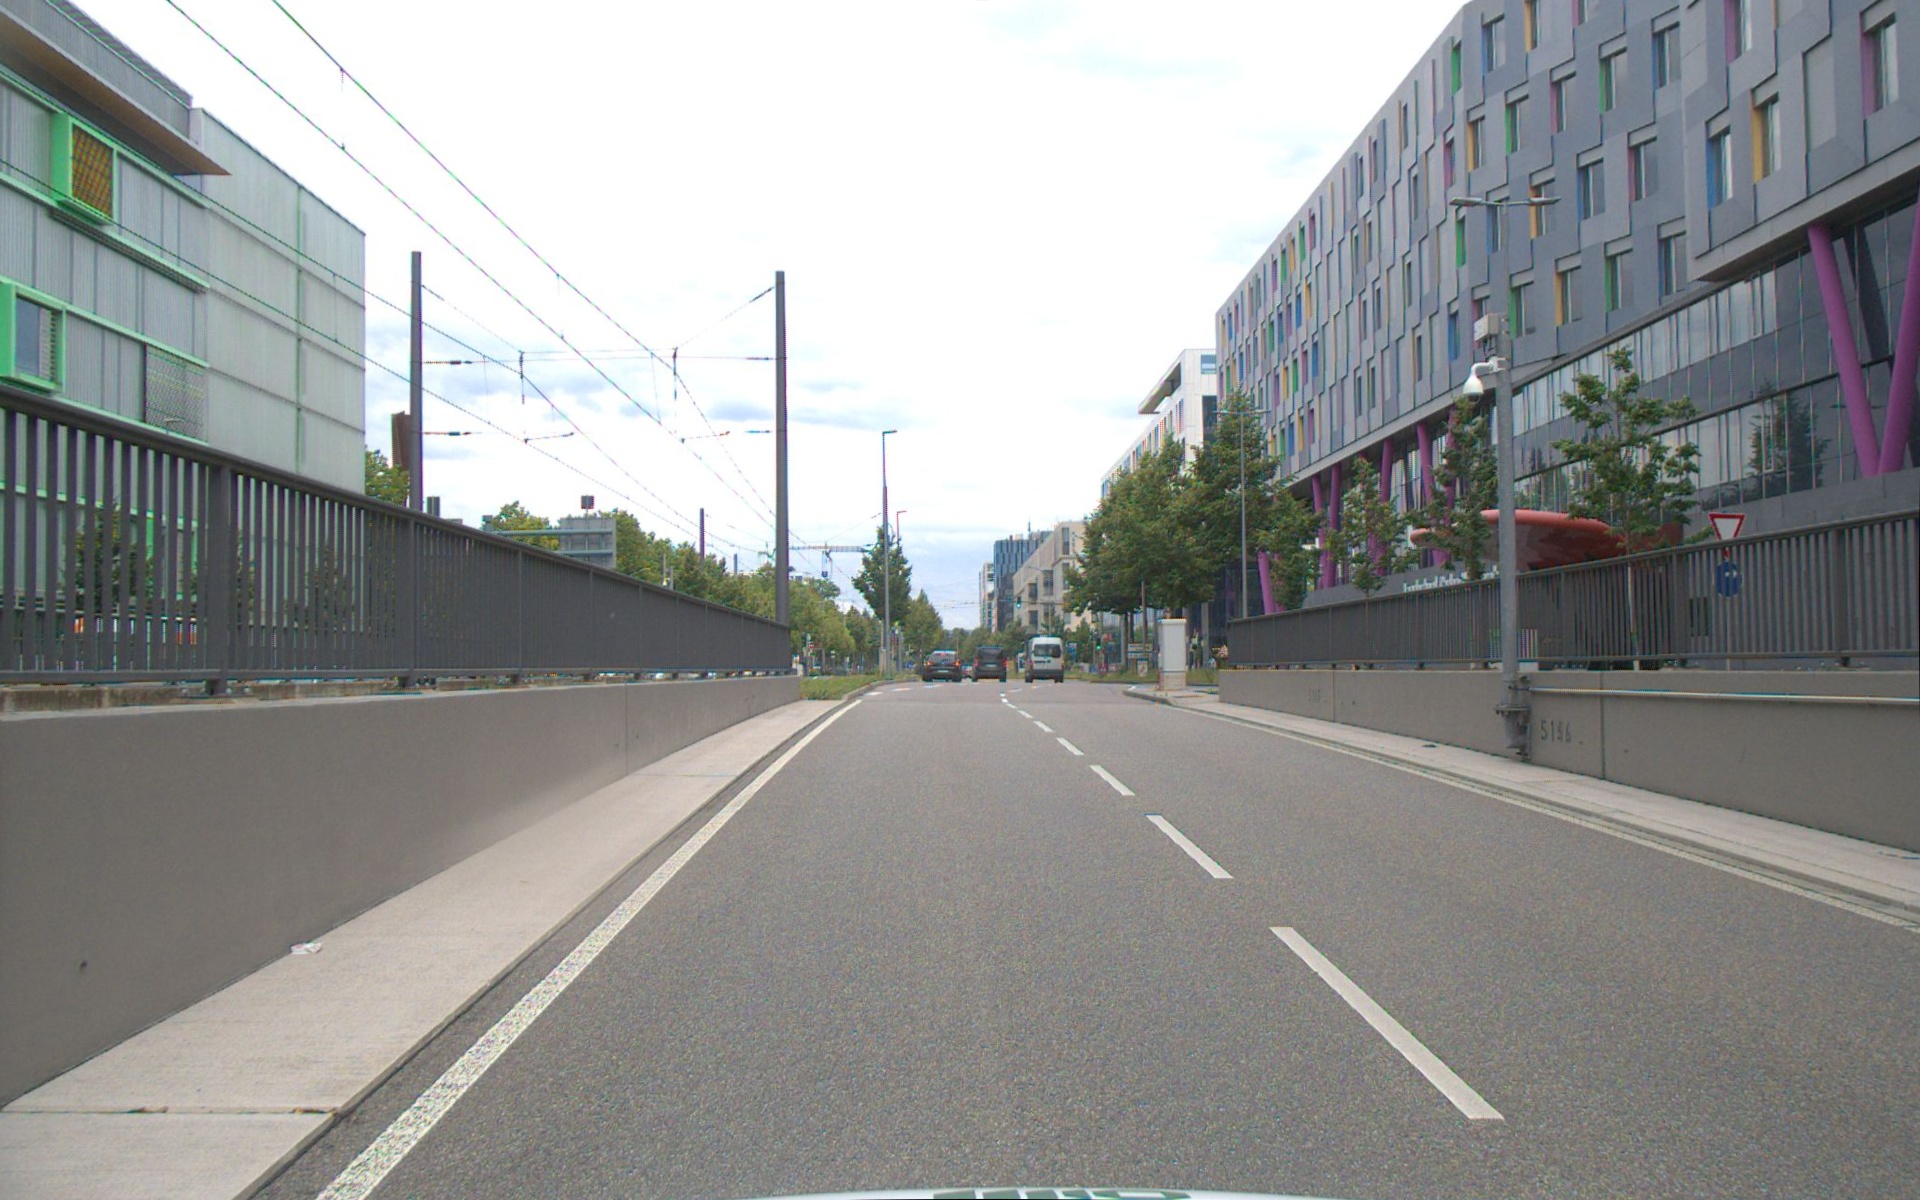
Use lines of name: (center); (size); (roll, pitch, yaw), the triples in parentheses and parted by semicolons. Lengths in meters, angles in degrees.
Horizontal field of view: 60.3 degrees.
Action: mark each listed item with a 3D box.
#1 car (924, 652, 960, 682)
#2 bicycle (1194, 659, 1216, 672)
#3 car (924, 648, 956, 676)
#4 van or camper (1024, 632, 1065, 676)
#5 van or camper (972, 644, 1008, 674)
car: (-0.908, 3.331, 82.218); (1.708, 1.442, 3.998); (1, -2, -2)
bicycle: (21.272, 5.684, 143.565); (1.755, 1.105, 0.617); (-1, -3, 1)
car: (-1.282, 4.041, 107.706); (1.952, 1.711, 4.000); (1, -2, 1)
van or camper: (4.742, 3.014, 93.633); (2.066, 2.397, 4.922); (0, -1, 0)
van or camper: (1.680, 3.322, 93.687); (1.953, 1.644, 4.788); (0, -1, 0)
